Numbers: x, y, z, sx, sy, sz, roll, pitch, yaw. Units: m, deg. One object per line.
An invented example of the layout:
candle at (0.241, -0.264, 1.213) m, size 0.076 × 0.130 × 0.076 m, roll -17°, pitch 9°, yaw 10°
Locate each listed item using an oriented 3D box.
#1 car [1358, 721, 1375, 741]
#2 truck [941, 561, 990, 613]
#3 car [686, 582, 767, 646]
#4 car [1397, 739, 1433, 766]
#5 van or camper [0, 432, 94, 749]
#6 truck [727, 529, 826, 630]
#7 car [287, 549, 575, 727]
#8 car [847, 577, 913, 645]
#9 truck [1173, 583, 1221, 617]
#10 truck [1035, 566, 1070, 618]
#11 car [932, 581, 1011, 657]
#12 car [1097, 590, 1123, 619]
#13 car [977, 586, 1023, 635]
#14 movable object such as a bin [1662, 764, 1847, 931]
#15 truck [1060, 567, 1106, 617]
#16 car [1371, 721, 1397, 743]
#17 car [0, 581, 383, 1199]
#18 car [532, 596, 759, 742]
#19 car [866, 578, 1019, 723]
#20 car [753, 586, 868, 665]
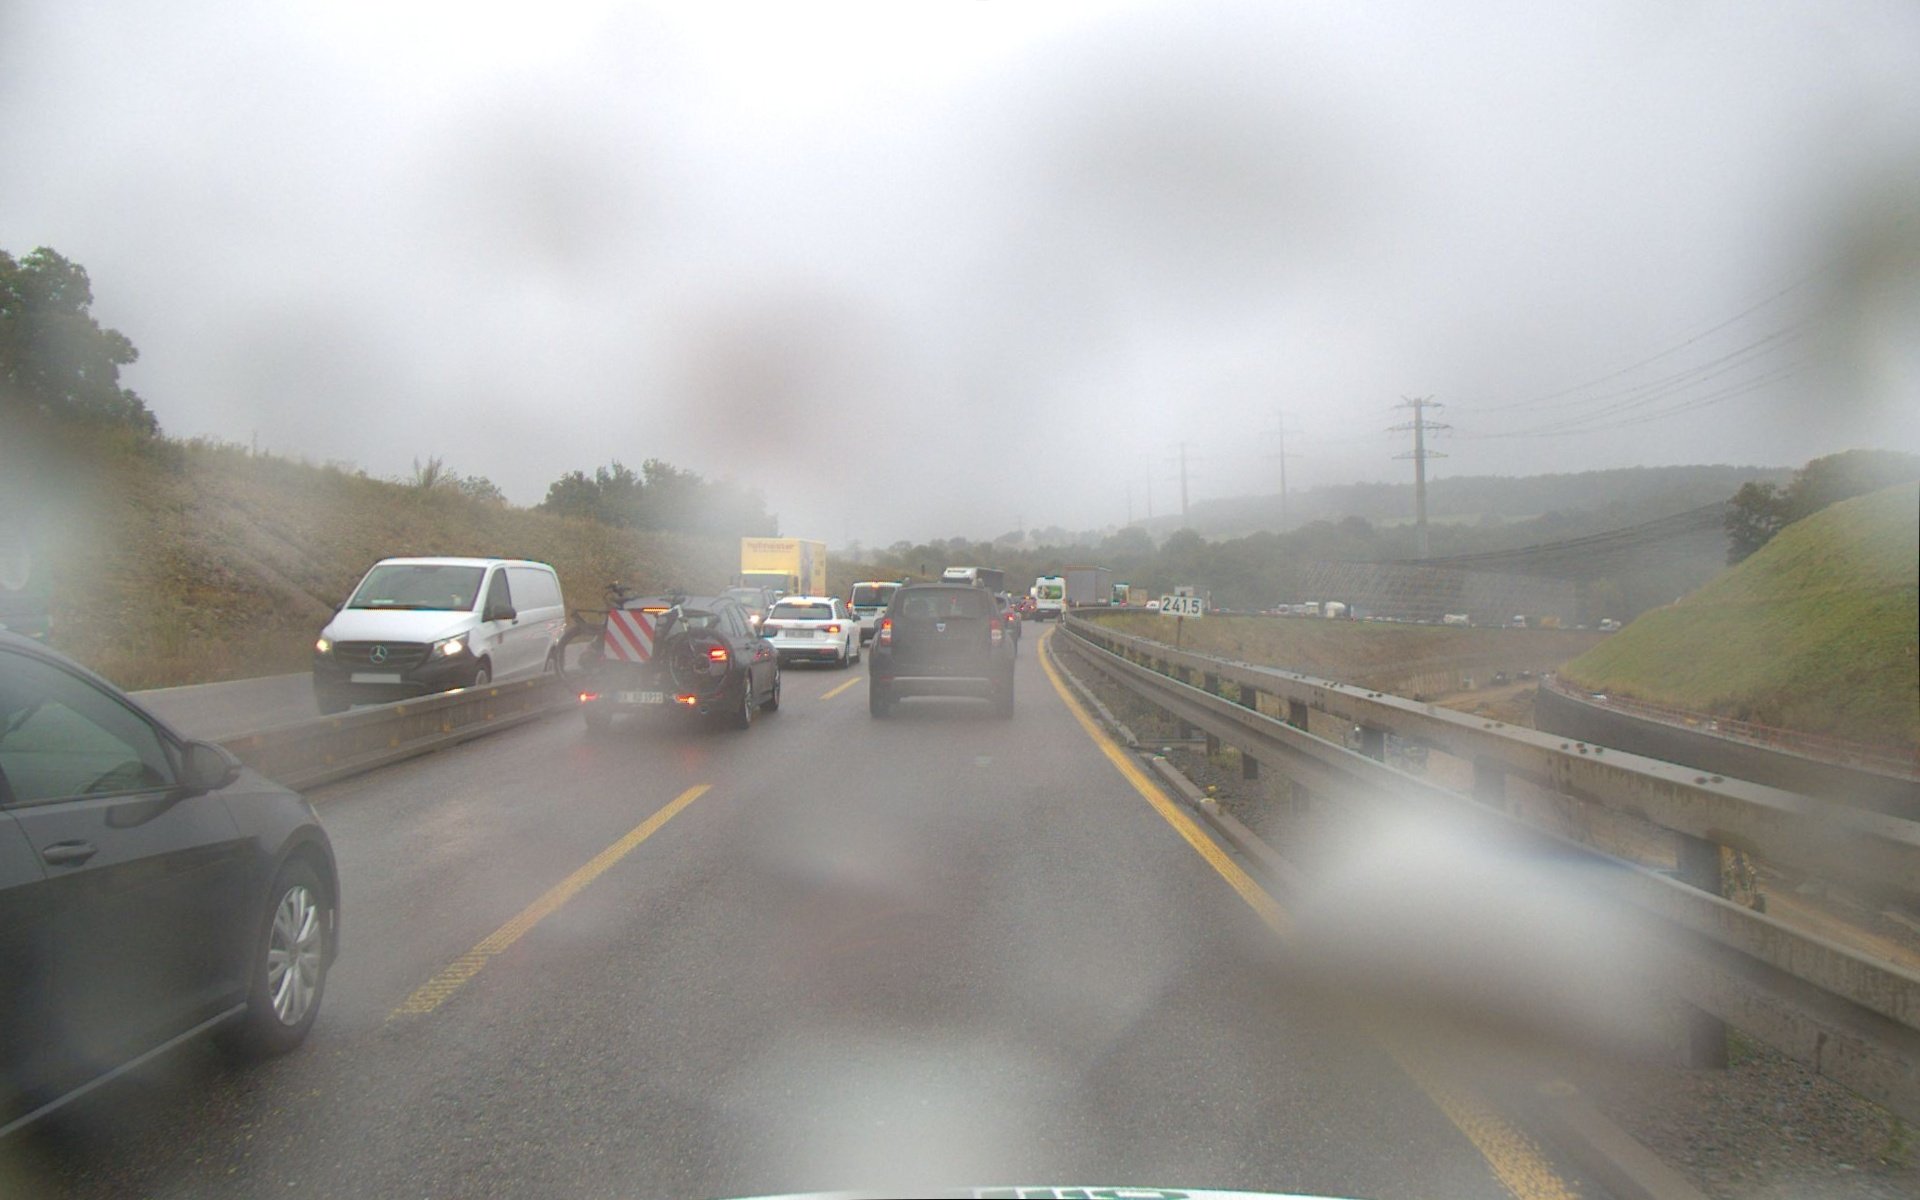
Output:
car at (50.182, 16.180, 204.168) m, size 1.951 × 2.049 × 4.003 m, roll 1°, pitch 0°, yaw 15°
truck at (0.602, -1.088, 140.451) m, size 2.871 × 4.169 × 14.399 m, roll 1°, pitch 0°, yaw 5°
car at (-6.349, 0.352, 45.296) m, size 1.725 × 1.625 × 3.999 m, roll 1°, pitch 0°, yaw -2°
car at (42.007, 14.074, 152.873) m, size 2.316 × 2.049 × 4.001 m, roll 1°, pitch 0°, yaw 2°
van or camper at (-9.693, -0.095, 13.502) m, size 2.057 × 2.867 × 5.943 m, roll 1°, pitch 0°, yaw 0°
truck at (-7.739, -0.850, 70.845) m, size 2.710 × 4.066 × 8.427 m, roll 1°, pitch 0°, yaw 4°
car at (-6.457, 0.403, 20.910) m, size 1.960 × 1.920 × 5.273 m, roll 1°, pitch 0°, yaw -1°
car at (-2.331, 0.307, 49.170) m, size 1.626 × 1.912 × 4.020 m, roll 1°, pitch 0°, yaw 1°
truck at (31.777, -0.012, 220.897) m, size 4.617 × 4.222 × 15.694 m, roll 1°, pitch 0°, yaw 14°
truck at (6.039, -0.506, 107.137) m, size 2.104 × 3.221 × 6.463 m, roll 1°, pitch 0°, yaw 4°
car at (0.317, 0.437, 40.909) m, size 1.829 × 1.738 × 4.001 m, roll 1°, pitch 0°, yaw 1°
car at (10.664, 0.321, 117.431) m, size 1.737 × 1.949 × 4.003 m, roll 1°, pitch 0°, yaw 6°
car at (1.462, 0.362, 59.261) m, size 1.498 × 1.669 × 4.014 m, roll 1°, pitch 0°, yaw 3°
movable object such as a bin at (22.548, 6.971, 47.200) m, size 3.148 × 3.934 × 4.122 m, roll 2°, pitch 1°, yaw 0°
truck at (9.971, -0.646, 133.442) m, size 3.132 × 3.827 × 8.516 m, roll 1°, pitch 0°, yaw 8°
car at (43.785, 13.628, 170.849) m, size 1.951 × 1.847 × 4.002 m, roll 1°, pitch 0°, yaw 5°
car at (-2.836, 0.743, 3.787) m, size 1.581 × 1.532 × 4.367 m, roll -1°, pitch 0°, yaw -2°
car at (-3.469, 0.708, 18.915) m, size 1.791 × 1.502 × 3.777 m, roll 0°, pitch 0°, yaw 1°
car at (-0.157, 0.583, 21.082) m, size 1.767 × 1.674 × 3.777 m, roll 0°, pitch 0°, yaw 1°
car at (-3.037, 0.484, 34.437) m, size 1.829 × 1.486 × 4.549 m, roll 1°, pitch 0°, yaw 1°
